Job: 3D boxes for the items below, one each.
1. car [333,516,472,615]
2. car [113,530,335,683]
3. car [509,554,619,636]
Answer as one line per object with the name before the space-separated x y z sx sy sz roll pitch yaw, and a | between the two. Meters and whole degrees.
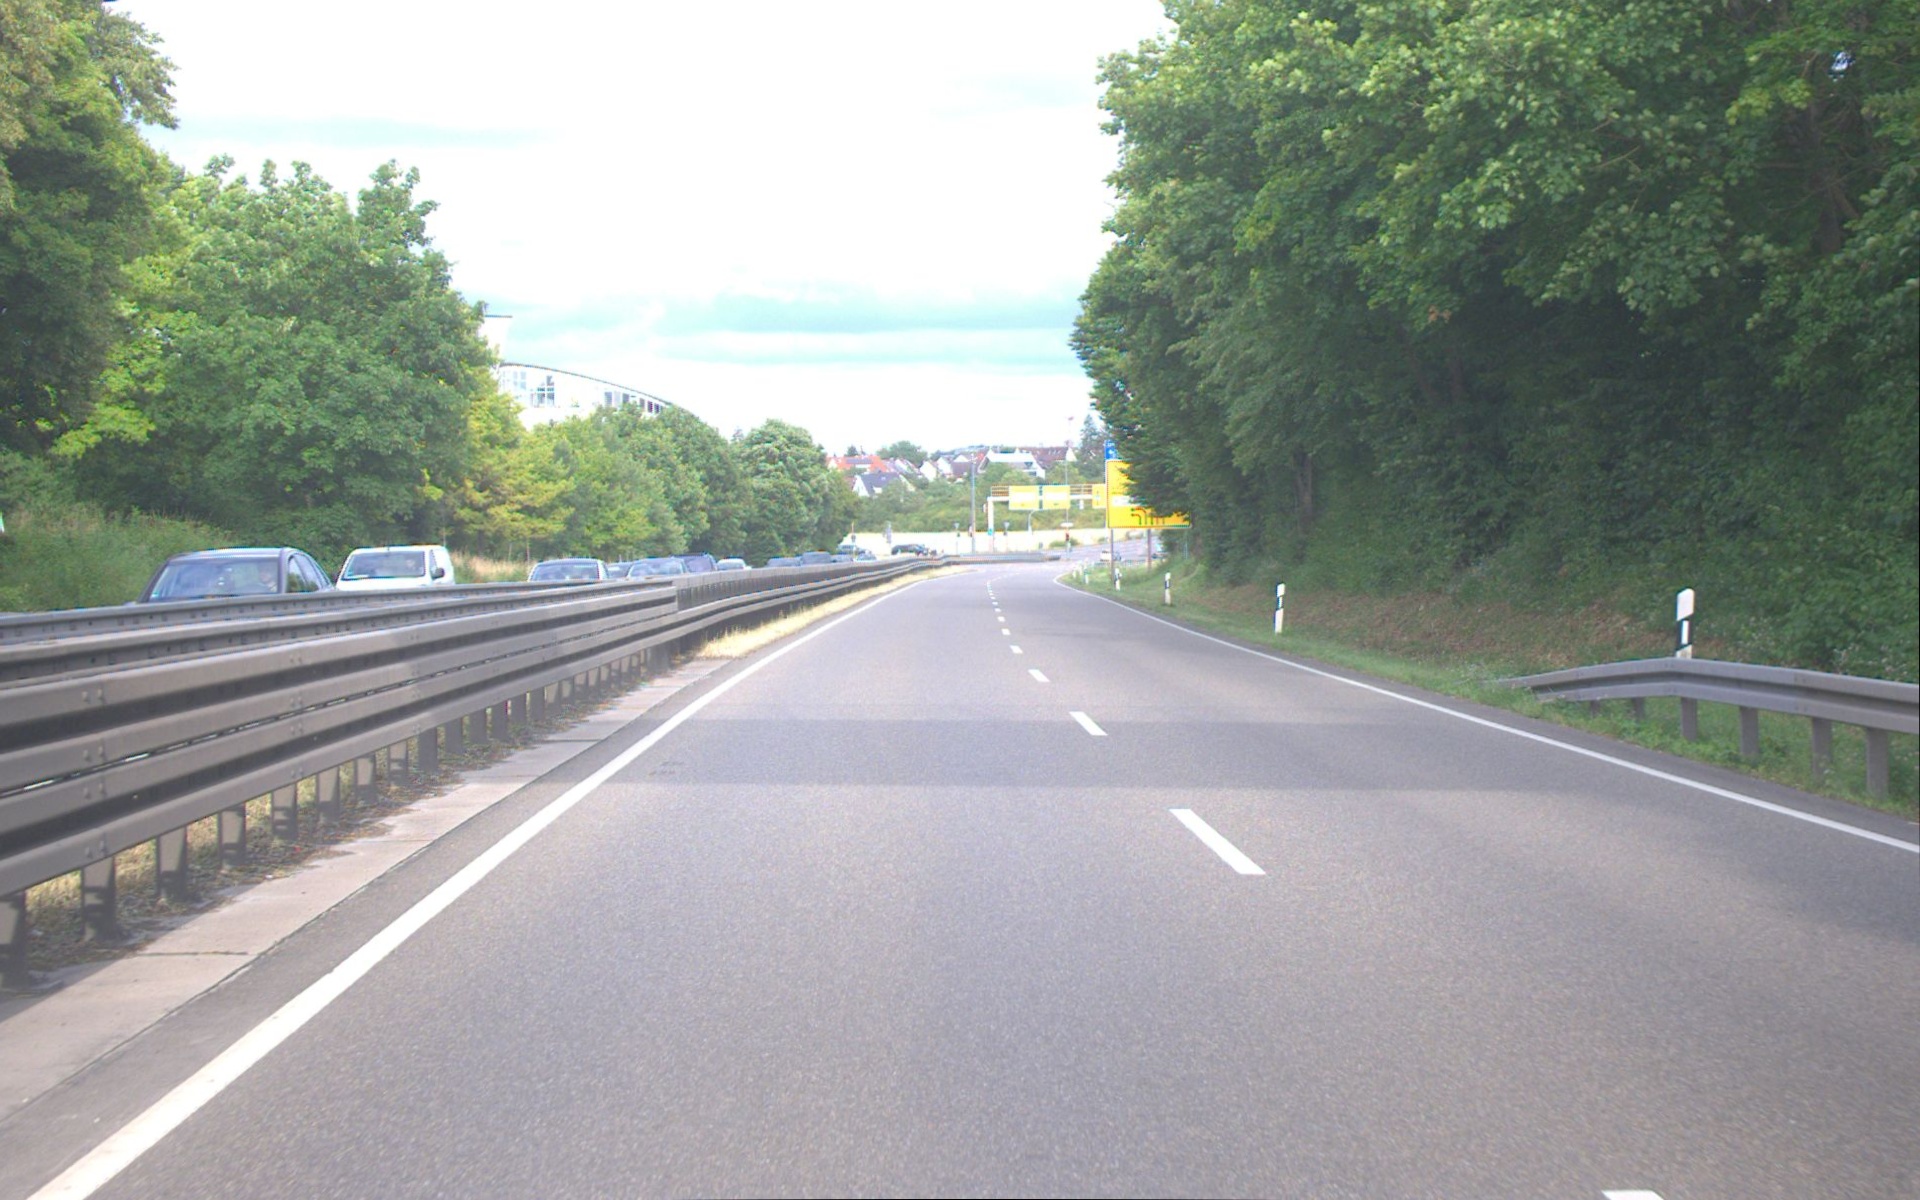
car | -10.834 -0.690 67.058 1.868 1.849 4.623 0 1 1
car | -7.667 0.031 36.104 1.606 1.523 3.641 0 1 -1
car | -7.559 -0.117 65.899 1.682 1.481 3.646 0 1 0
